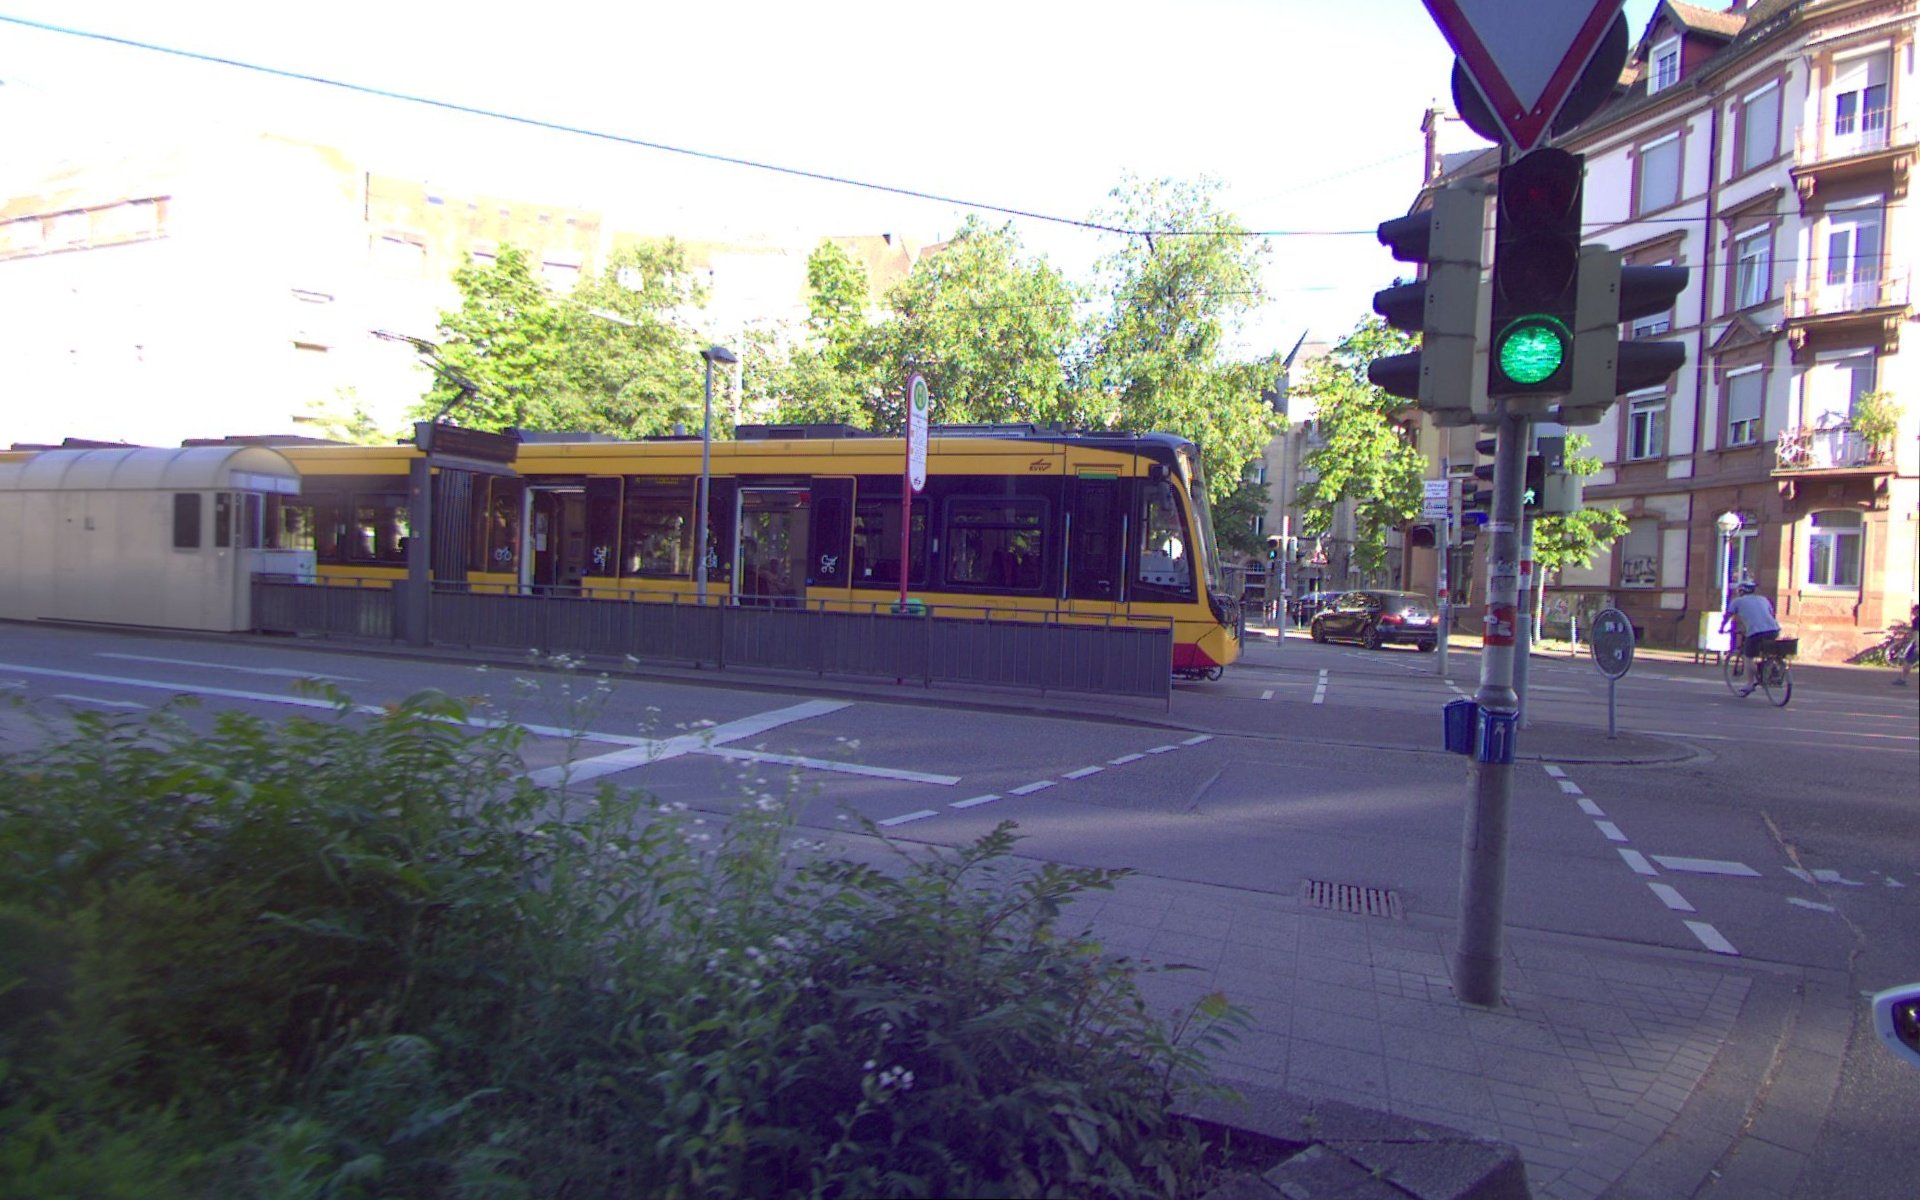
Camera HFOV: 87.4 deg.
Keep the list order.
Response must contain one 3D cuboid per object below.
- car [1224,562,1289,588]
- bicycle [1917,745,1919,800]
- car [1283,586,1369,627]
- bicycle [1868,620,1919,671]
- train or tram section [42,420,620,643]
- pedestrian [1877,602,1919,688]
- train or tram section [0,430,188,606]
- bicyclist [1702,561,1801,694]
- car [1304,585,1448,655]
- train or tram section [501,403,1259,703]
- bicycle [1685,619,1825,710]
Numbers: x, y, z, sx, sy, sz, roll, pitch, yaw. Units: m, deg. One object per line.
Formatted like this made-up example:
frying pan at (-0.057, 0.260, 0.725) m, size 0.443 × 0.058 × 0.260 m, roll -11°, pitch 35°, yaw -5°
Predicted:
car at (20.860, -1.752, 70.842) m, size 3.945 × 1.669 × 1.867 m, roll 4°, pitch 2°, yaw 44°
bicycle at (7.014, 0.953, 6.661) m, size 0.708 × 1.122 × 1.959 m, roll 3°, pitch 2°, yaw 37°
car at (15.795, 0.295, 43.254) m, size 1.773 × 1.632 × 4.341 m, roll 4°, pitch 2°, yaw 45°
bicycle at (22.385, 1.092, 23.216) m, size 0.439 × 1.122 × 1.947 m, roll 1°, pitch 3°, yaw -35°
train or tram section at (-12.647, -1.402, 19.799) m, size 12.176 × 3.635 × 2.786 m, roll 3°, pitch 2°, yaw 20°
pedestrian at (19.243, 0.891, 20.166) m, size 0.713 × 1.657 × 0.903 m, roll 1°, pitch 3°, yaw -11°
train or tram section at (-24.172, -1.969, 24.118) m, size 12.433 × 3.605 × 2.773 m, roll 3°, pitch 2°, yaw 20°
bicyclist at (12.101, 0.402, 15.387) m, size 0.781 × 1.939 × 0.945 m, roll 3°, pitch 2°, yaw 14°
car at (11.062, 0.484, 27.006) m, size 1.763 × 1.562 × 3.853 m, roll 3°, pitch 1°, yaw -9°
train or tram section at (-1.531, -0.847, 15.642) m, size 11.569 × 3.668 × 2.800 m, roll 3°, pitch 2°, yaw 20°
bicycle at (12.077, 0.930, 15.373) m, size 0.796 × 1.200 × 2.228 m, roll 2°, pitch 1°, yaw 14°
